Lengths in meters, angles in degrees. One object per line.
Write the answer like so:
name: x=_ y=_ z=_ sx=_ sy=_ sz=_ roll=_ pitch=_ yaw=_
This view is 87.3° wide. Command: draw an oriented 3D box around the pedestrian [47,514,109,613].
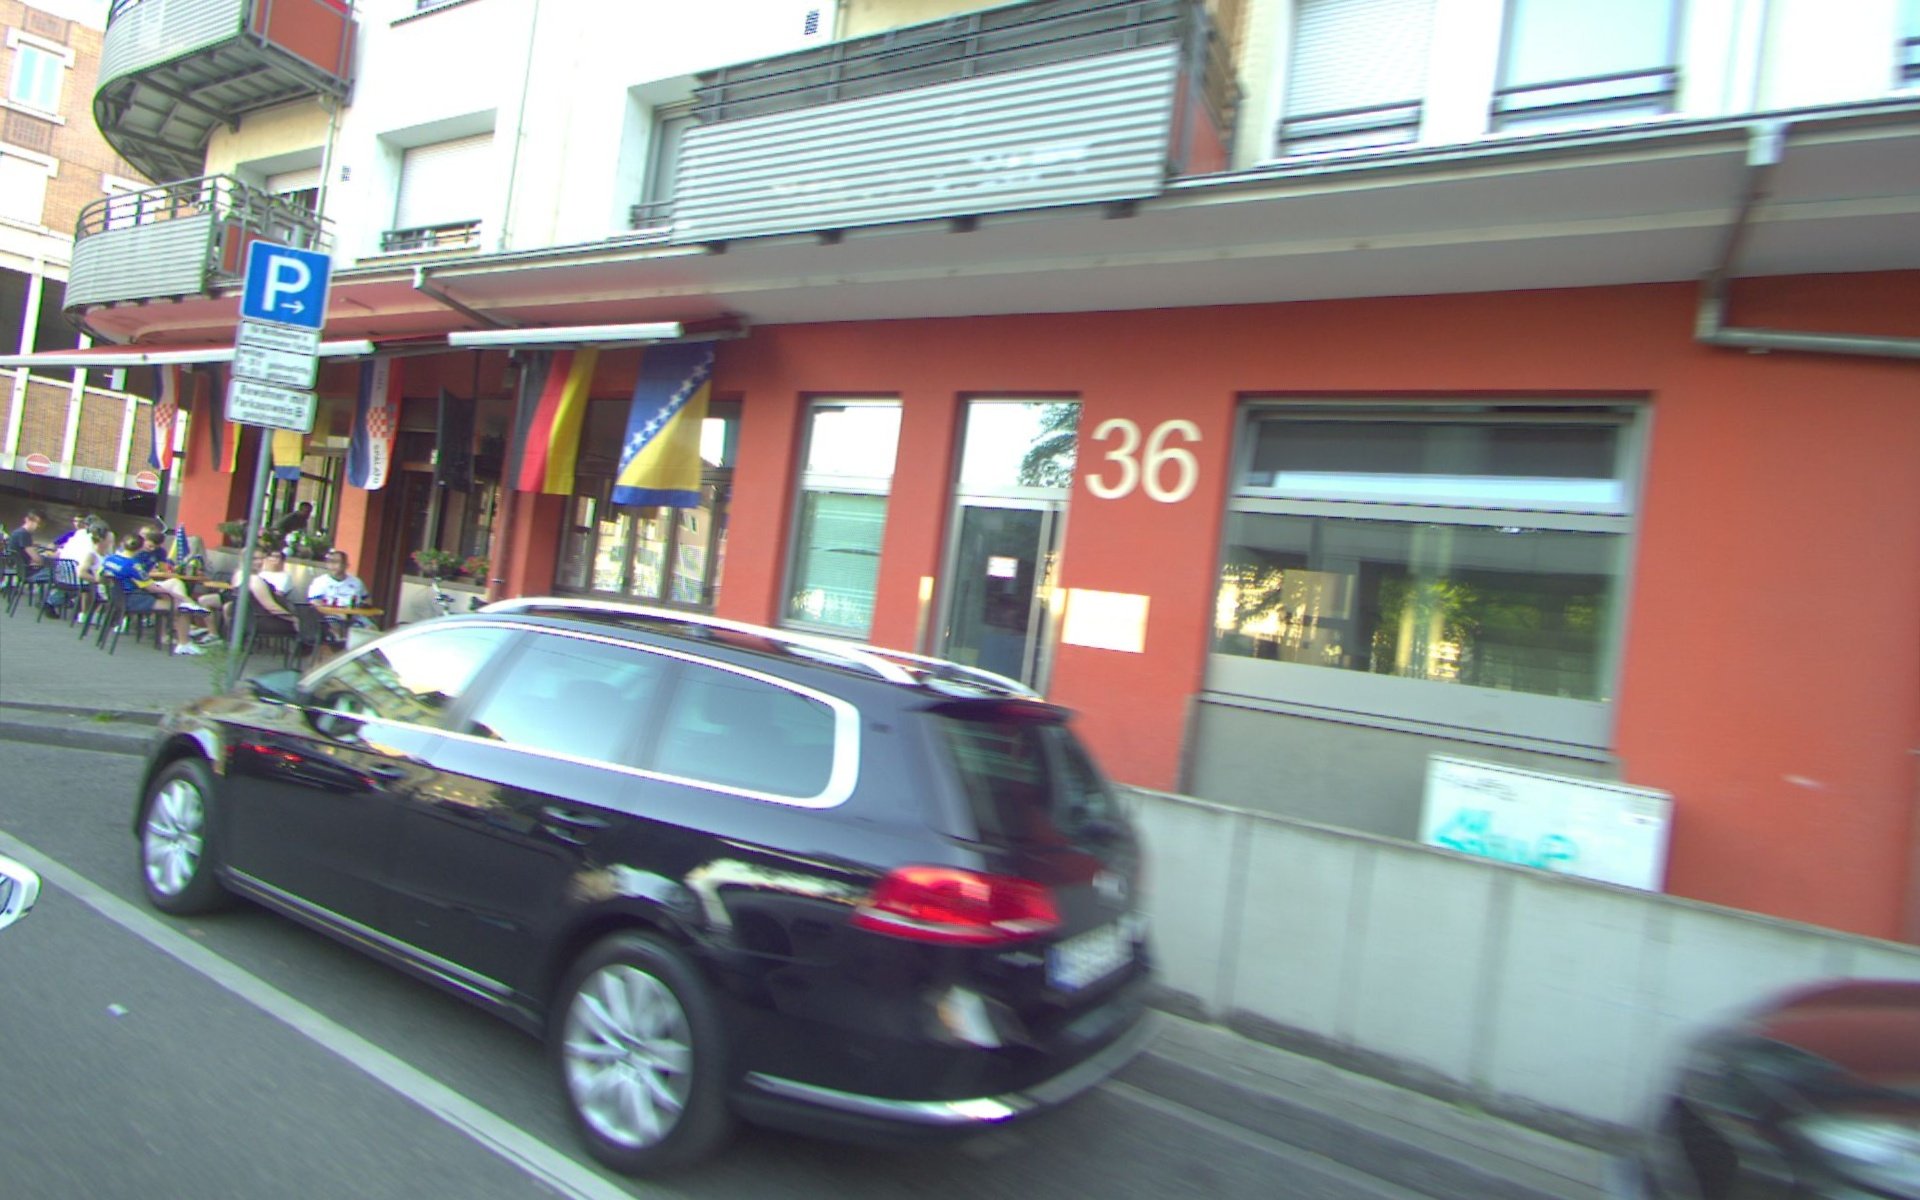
pedestrian: x=-12.348 y=-0.512 z=14.081 sx=0.514 sy=1.292 sz=0.489 roll=7 pitch=0 yaw=43

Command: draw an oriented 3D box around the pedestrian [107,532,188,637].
pedestrian: x=-9.969 y=-0.187 z=12.355 sx=0.560 sy=1.217 sz=0.417 roll=6 pitch=2 yaw=-12

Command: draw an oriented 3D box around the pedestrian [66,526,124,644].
pedestrian: x=-9.681 y=-0.171 z=11.266 sx=0.340 sy=1.273 sz=0.358 roll=5 pitch=2 yaw=-26

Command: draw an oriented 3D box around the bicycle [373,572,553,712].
bicycle: x=-4.834 y=0.388 z=9.761 sx=1.712 sy=1.168 sz=0.536 roll=5 pitch=-1 yaw=26

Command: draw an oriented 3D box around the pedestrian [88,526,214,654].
pedestrian: x=-8.617 y=-0.086 z=10.736 sx=0.483 sy=1.273 sz=0.859 roll=7 pitch=2 yaw=30

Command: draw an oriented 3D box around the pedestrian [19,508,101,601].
pedestrian: x=-13.671 y=-0.682 z=15.299 sx=0.611 sy=1.294 sz=0.697 roll=8 pitch=0 yaw=-23

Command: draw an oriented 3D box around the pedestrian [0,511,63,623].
pedestrian: x=-11.560 y=-0.401 z=12.464 sx=0.411 sy=1.320 sz=0.491 roll=7 pitch=2 yaw=30

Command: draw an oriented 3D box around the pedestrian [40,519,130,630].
pedestrian: x=-10.790 y=-0.310 z=12.423 sx=0.502 sy=1.293 sz=0.627 roll=6 pitch=2 yaw=-7

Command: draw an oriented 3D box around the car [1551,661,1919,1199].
car: x=3.505 y=1.299 z=1.147 sx=4.709 sy=1.659 sz=1.771 roll=7 pitch=-4 yaw=30

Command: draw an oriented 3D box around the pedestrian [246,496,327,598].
pedestrian: x=-11.776 y=-0.915 z=17.602 sx=0.675 sy=1.625 sz=0.716 roll=8 pitch=-2 yaw=4

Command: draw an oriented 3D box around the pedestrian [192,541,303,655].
pedestrian: x=-8.445 y=-0.014 z=11.935 sx=0.702 sy=1.239 sz=0.780 roll=7 pitch=2 yaw=30

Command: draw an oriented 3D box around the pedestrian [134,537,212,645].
pedestrian: x=-9.352 y=-0.111 z=11.964 sx=0.529 sy=1.217 sz=0.417 roll=6 pitch=2 yaw=-13

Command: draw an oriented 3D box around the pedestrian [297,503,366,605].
pedestrian: x=-10.800 y=-0.785 z=17.309 sx=0.598 sy=1.625 sz=0.534 roll=8 pitch=-2 yaw=9

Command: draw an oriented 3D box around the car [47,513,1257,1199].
car: x=-1.479 y=0.738 z=4.044 sx=4.709 sy=1.518 sz=1.771 roll=7 pitch=-4 yaw=31

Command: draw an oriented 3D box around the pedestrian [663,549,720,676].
pedestrian: x=-3.676 y=0.179 z=13.808 sx=0.420 sy=1.679 sz=0.431 roll=8 pitch=-2 yaw=-1

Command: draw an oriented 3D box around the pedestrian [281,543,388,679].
pedestrian: x=-6.768 y=0.122 z=10.885 sx=0.684 sy=1.364 sz=0.607 roll=7 pitch=0 yaw=29

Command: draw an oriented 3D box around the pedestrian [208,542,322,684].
pedestrian: x=-6.895 y=0.135 z=9.985 sx=0.600 sy=1.302 sz=0.686 roll=7 pitch=0 yaw=39
